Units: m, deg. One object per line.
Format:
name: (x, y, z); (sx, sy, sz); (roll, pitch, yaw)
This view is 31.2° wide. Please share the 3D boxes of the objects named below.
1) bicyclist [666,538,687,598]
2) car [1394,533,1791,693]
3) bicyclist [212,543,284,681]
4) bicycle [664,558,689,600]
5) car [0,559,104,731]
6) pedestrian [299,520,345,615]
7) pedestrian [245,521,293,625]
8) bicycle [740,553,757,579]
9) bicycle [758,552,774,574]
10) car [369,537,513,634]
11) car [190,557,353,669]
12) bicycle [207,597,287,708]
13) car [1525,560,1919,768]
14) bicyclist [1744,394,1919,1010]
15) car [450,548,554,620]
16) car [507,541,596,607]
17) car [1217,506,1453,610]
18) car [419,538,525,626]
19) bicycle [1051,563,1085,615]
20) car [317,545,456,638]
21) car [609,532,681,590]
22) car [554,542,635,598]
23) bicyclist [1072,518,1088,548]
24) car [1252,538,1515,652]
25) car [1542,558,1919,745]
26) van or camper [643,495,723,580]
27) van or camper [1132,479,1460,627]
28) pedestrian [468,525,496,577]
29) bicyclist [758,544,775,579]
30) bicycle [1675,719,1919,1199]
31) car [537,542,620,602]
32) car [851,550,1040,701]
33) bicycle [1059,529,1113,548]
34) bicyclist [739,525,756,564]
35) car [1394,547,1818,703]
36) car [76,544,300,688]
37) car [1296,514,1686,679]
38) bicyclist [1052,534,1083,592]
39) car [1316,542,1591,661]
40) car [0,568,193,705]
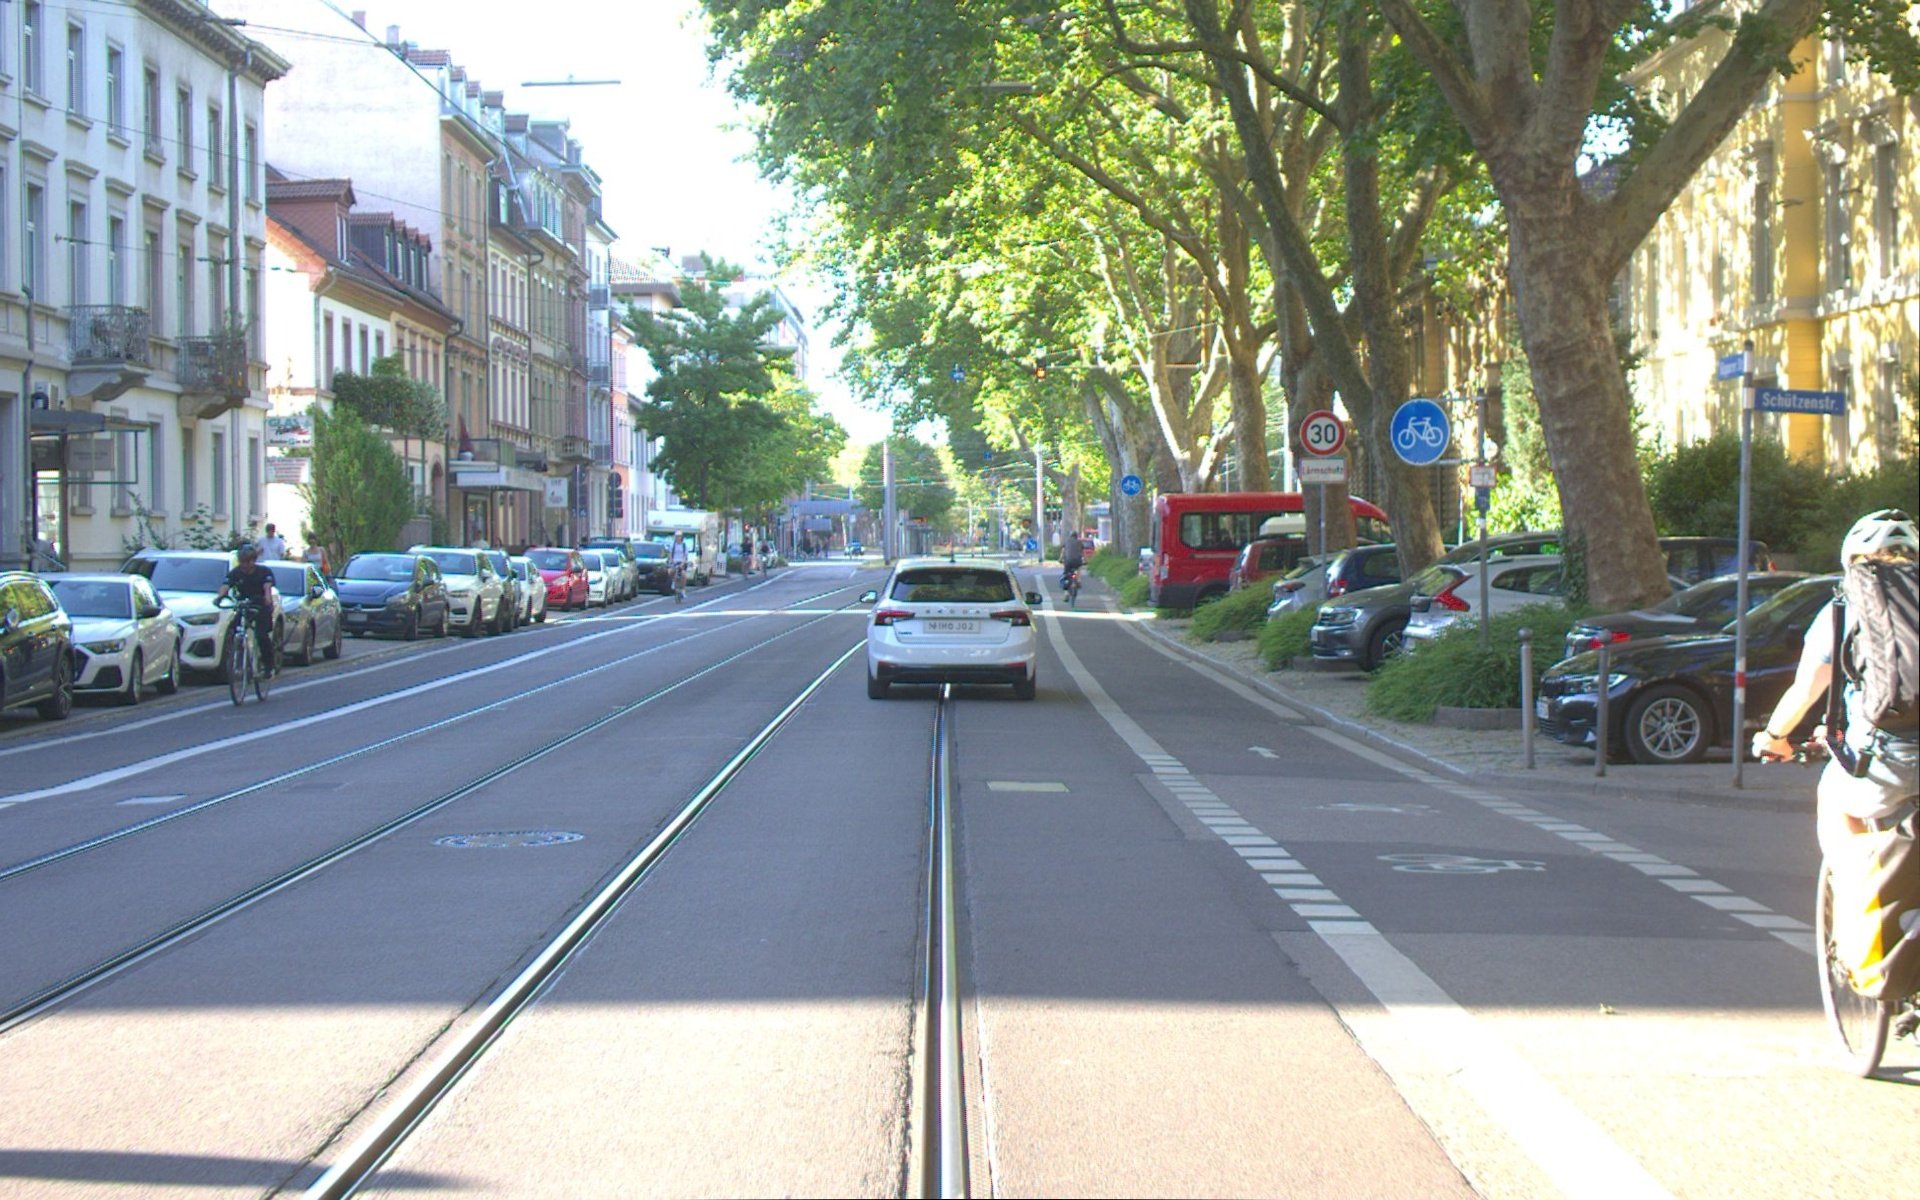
bicyclist: (-7.660, -0.867, 92.991); (0.473, 1.630, 0.800); (-1, 1, 1)
car: (6.953, 0.121, 38.050); (4.027, 1.638, 1.681); (-1, 1, -2)
bicyclist: (-7.768, 0.124, 37.536); (0.582, 1.477, 0.807); (-1, 1, 0)
bicycle: (-7.662, -0.574, 92.874); (0.481, 1.082, 1.846); (-1, 1, 1)
car: (-9.760, 0.395, 33.477); (1.740, 1.557, 4.787); (1, 1, -1)
pedestrian: (-12.360, -0.631, 66.632); (0.759, 1.815, 0.830); (0, 1, -3)
pedestrian: (-13.408, -0.528, 66.693); (0.759, 2.007, 0.830); (0, 1, -2)
bicycle: (-8.815, -1.414, 143.499); (0.484, 1.044, 2.039); (-2, 1, 2)
bicycle: (-8.479, -1.612, 150.338); (0.499, 0.940, 1.921); (-2, 1, 2)
car: (-9.634, -0.303, 64.113); (1.857, 1.698, 4.763); (-1, 1, 1)
car: (-9.876, 0.160, 49.566); (1.662, 1.515, 4.065); (1, 1, -2)
bicycle: (-7.783, 0.558, 37.581); (0.421, 1.146, 2.232); (-1, 0, -1)
car: (6.527, 0.452, 26.185); (4.096, 1.486, 1.831); (-1, 1, -2)
bicyclist: (2.561, 0.265, 9.170); (0.614, 1.547, 0.935); (4, 1, 0)
car: (-9.982, -0.368, 75.192); (1.687, 1.472, 4.258); (1, 1, 0)
car: (-10.111, -0.658, 85.270); (1.569, 1.557, 3.448); (-1, 1, 4)
car: (6.538, -0.718, 60.123); (3.818, 1.643, 1.767); (-2, 0, -2)
car: (-9.849, -0.391, 69.680); (1.856, 1.698, 4.660); (-1, 1, -5)
bicycle: (2.497, -0.265, 79.791); (0.680, 1.151, 2.964); (1, 1, 0)
car: (-9.831, -0.175, 59.162); (1.554, 1.510, 3.924); (-1, 1, 2)
car: (-10.242, -1.299, 112.106); (1.964, 1.775, 4.938); (2, 1, -2)
car: (-10.178, -0.854, 96.041); (1.827, 1.497, 4.450); (1, 1, -1)
bicyclist: (6.379, -3.571, 183.385); (0.737, 1.583, 0.586); (-1, 1, 13)
car: (6.176, -0.091, 50.392); (3.595, 1.512, 1.694); (-2, 1, 0)
car: (7.010, 0.405, 28.715); (4.097, 1.486, 1.681); (0, 1, 5)
van or camper: (-10.534, -2.378, 131.248); (2.217, 3.129, 7.113); (0, 1, 2)
van or camper: (6.275, -0.908, 64.739); (5.814, 2.510, 2.288); (-2, 2, -2)
pedestrian: (-15.113, -1.553, 108.717); (0.771, 1.628, 0.657); (1, 1, -15)
bicyclist: (-8.472, -1.682, 150.367); (0.638, 1.498, 1.069); (-2, 1, 1)
bicycle: (2.504, 0.898, 9.259); (0.595, 1.001, 2.511); (2, 1, 0)
car: (-10.046, -0.762, 90.806); (1.827, 1.497, 4.689); (1, 1, -2)
car: (-0.200, 0.222, 35.780); (1.842, 1.475, 3.839); (0, 1, -2)
bicycle: (6.724, -3.264, 183.280); (2.772, 0.996, 0.592); (1, 1, 15)
bicyclist: (-8.875, -2.318, 143.499); (0.535, 1.629, 0.896); (-2, 1, 2)
car: (6.629, 0.242, 35.537); (4.027, 1.475, 1.681); (-1, 1, -1)
car: (-9.808, 0.161, 44.038); (1.786, 1.717, 4.719); (1, 1, 0)
car: (6.299, -0.061, 41.086); (4.262, 1.713, 1.849); (-3, 1, -2)
bicyclist: (2.498, -0.855, 79.977); (0.679, 1.334, 0.525); (1, 1, 0)
car: (6.849, 0.012, 47.936); (3.595, 1.594, 1.541); (-1, 0, 1)
car: (-9.795, 0.368, 38.661); (1.699, 1.415, 4.001); (1, 1, -4)
